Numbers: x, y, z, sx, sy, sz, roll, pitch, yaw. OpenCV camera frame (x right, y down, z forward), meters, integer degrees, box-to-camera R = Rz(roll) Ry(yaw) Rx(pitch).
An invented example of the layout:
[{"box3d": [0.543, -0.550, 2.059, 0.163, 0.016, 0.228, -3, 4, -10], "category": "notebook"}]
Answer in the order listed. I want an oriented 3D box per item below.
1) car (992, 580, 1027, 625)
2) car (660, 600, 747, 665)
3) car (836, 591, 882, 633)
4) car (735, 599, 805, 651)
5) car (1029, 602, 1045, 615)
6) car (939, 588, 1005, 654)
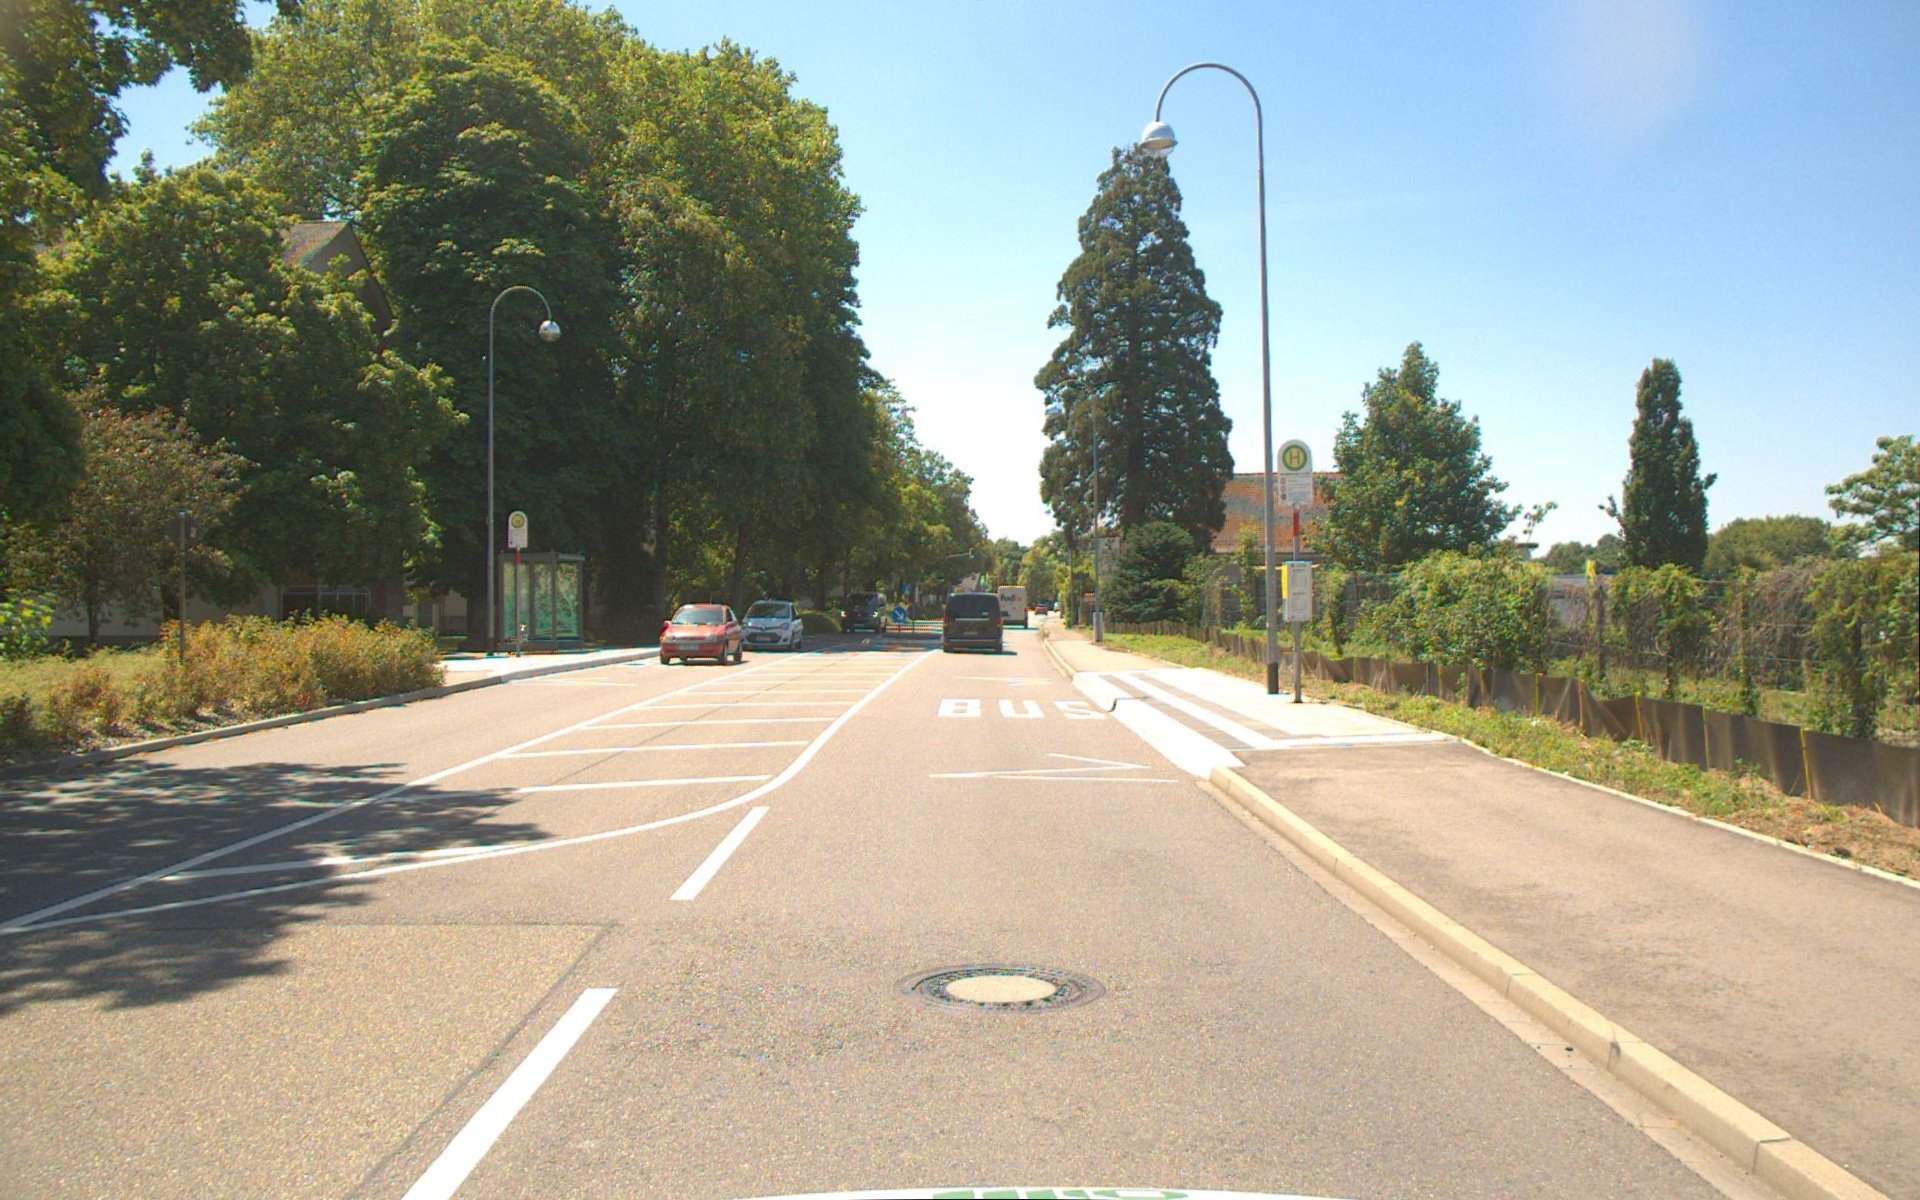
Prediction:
[{"box3d": [3.088, 0.115, 103.203, 2.076, 2.724, 5.663, 1, 1, 2], "category": "car"}, {"box3d": [-6.189, 0.774, 40.231, 1.518, 1.476, 3.690, 1, 0, 0], "category": "car"}, {"box3d": [-4.935, 0.553, 81.231, 1.953, 1.943, 4.990, 1, 0, -1], "category": "car"}, {"box3d": [-5.791, 0.734, 50.706, 1.656, 1.485, 3.640, 1, 1, 1], "category": "car"}, {"box3d": [10.516, 1.156, 226.160, 1.820, 1.671, 3.999, 1, 1, -1], "category": "car"}, {"box3d": [0.376, 0.623, 52.048, 1.952, 1.926, 4.000, 1, 1, 0], "category": "car"}]
